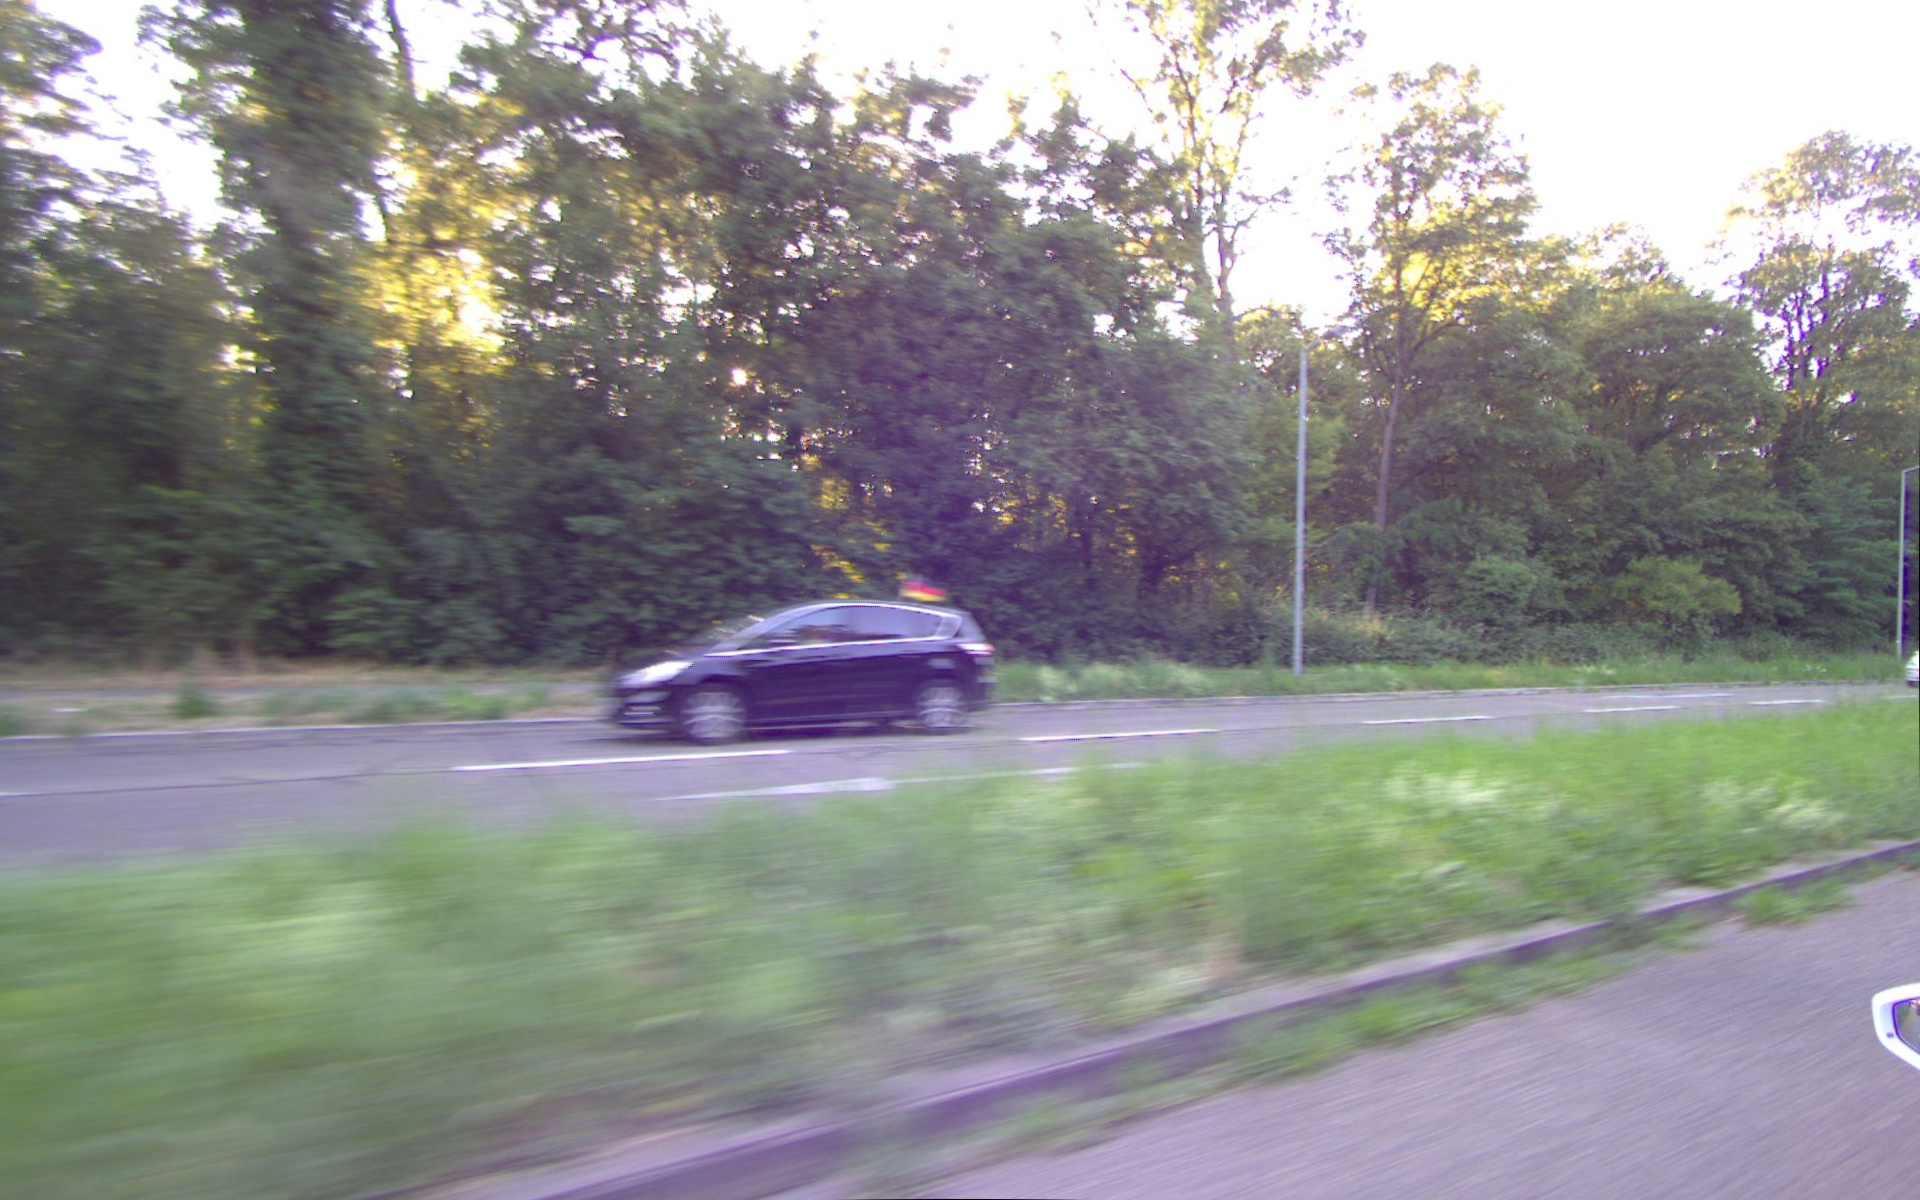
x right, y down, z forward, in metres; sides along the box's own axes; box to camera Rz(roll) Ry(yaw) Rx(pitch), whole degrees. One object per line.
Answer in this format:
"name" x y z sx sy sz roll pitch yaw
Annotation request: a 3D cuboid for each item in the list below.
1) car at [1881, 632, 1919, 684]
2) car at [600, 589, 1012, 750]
"car" 29.356 1.775 29.661 3.762 1.477 1.986 4 -2 -27
"car" -1.812 0.800 12.296 4.597 1.649 1.984 2 -2 -31
